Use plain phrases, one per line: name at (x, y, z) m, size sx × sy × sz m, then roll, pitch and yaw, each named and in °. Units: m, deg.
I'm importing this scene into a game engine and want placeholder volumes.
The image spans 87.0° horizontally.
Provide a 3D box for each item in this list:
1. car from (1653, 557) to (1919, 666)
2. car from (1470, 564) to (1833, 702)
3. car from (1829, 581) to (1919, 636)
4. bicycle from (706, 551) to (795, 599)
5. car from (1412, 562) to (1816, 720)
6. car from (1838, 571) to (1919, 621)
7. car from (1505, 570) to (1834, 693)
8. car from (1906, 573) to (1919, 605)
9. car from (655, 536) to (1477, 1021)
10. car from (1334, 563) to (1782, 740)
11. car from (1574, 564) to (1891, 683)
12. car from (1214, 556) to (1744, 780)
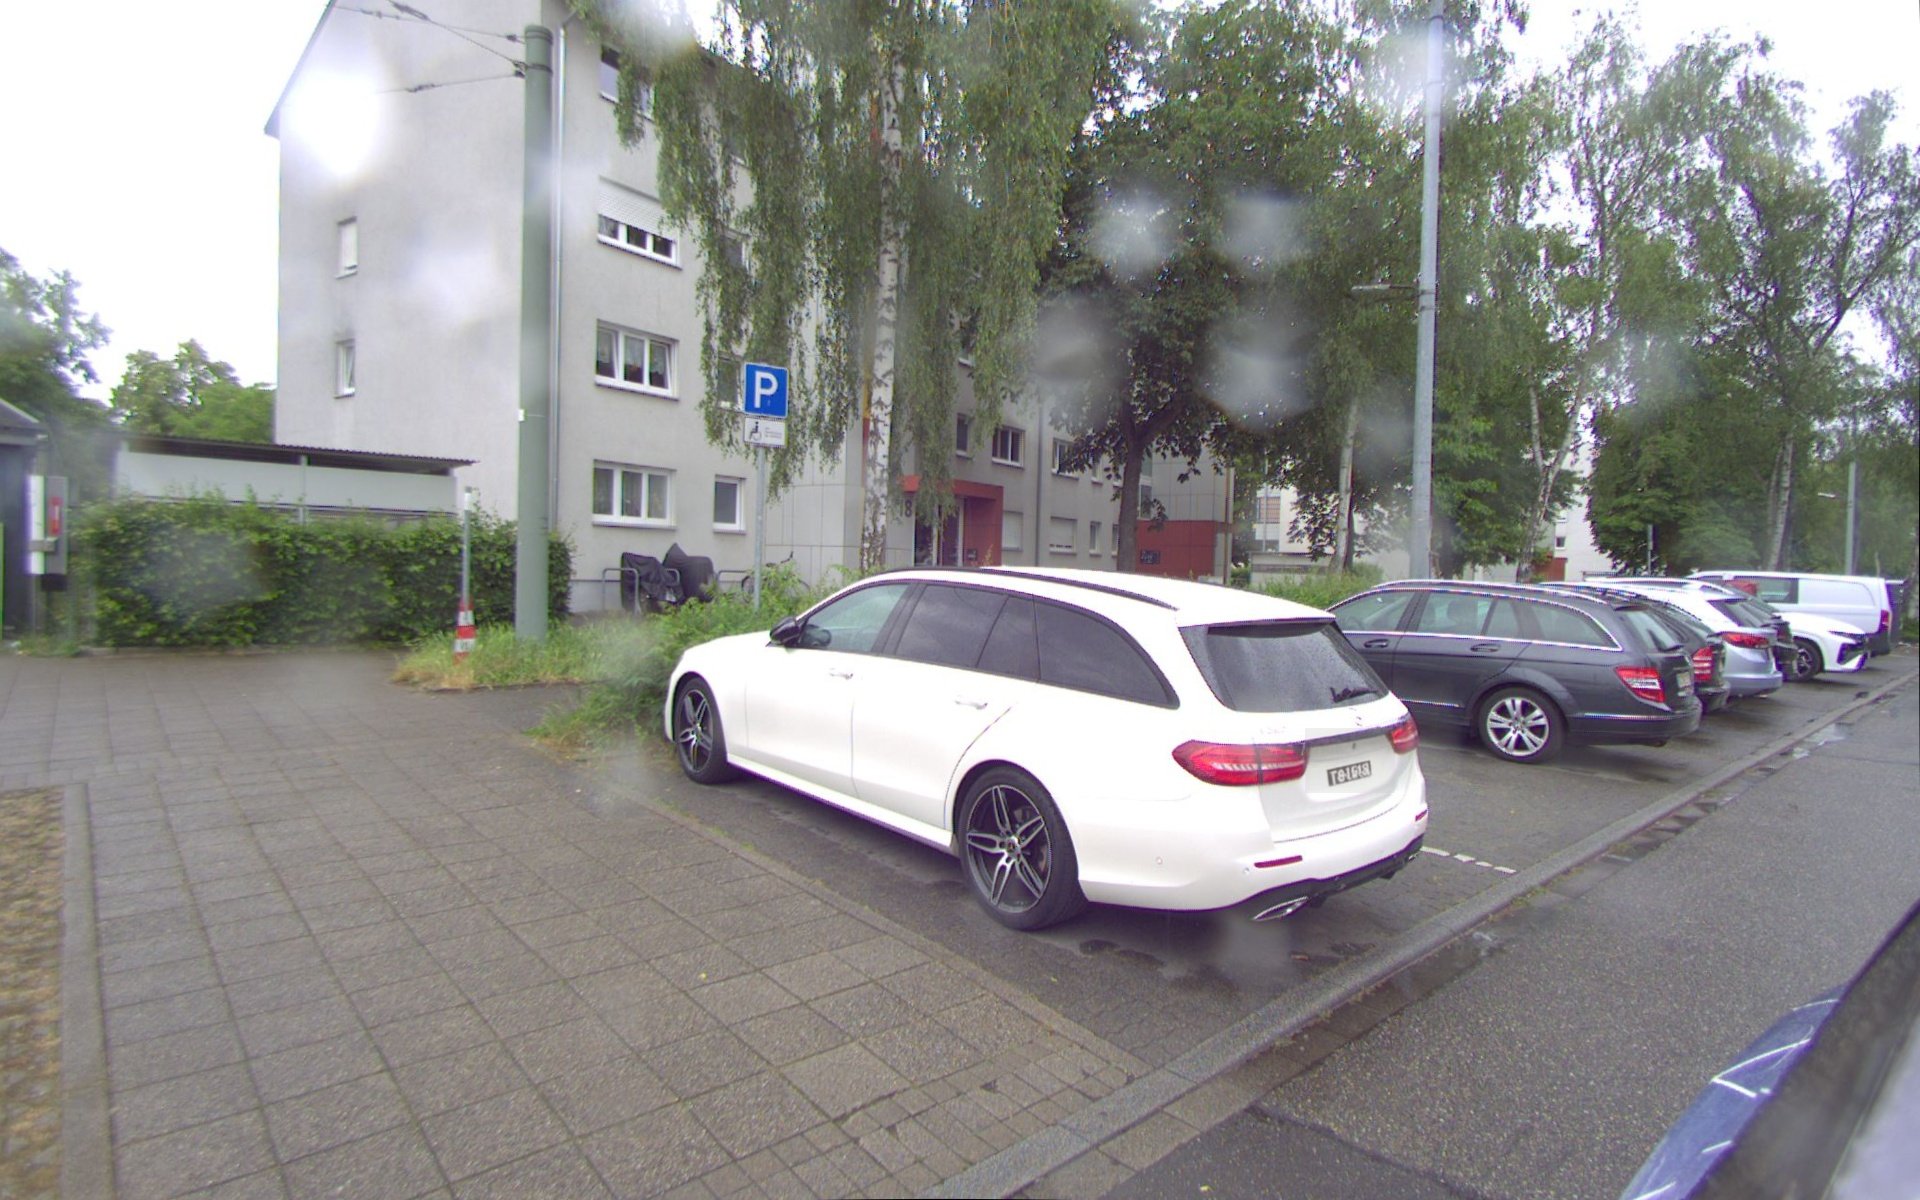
car at (17.551, 0.138, 21.662) m, size 4.172 × 1.888 × 1.654 m, roll 7°, pitch 5°, yaw 43°
car at (9.870, 0.349, 14.690) m, size 1.653 × 1.514 × 4.044 m, roll -1°, pitch 5°, yaw -43°
car at (34.443, 0.277, 36.816) m, size 1.866 × 1.937 × 3.998 m, roll -1°, pitch 0°, yaw -36°
bicycle at (-4.522, -0.530, 21.971) m, size 0.701 × 1.005 × 1.918 m, roll 0°, pitch 0°, yaw 37°
car at (8.242, 0.377, 13.047) m, size 1.653 × 1.514 × 4.044 m, roll -1°, pitch 5°, yaw -43°
car at (37.779, -0.174, 40.255) m, size 1.866 × 1.937 × 3.998 m, roll -1°, pitch 0°, yaw -36°
car at (11.327, 0.386, 16.367) m, size 1.653 × 1.514 × 4.044 m, roll -1°, pitch 5°, yaw -43°
car at (53.223, -0.589, 53.810) m, size 1.866 × 1.701 × 3.998 m, roll -1°, pitch 1°, yaw -36°
car at (0.082, 0.473, 5.608) m, size 1.651 × 1.456 × 4.622 m, roll -1°, pitch 5°, yaw -41°
car at (6.615, 0.417, 11.543) m, size 1.653 × 1.456 × 4.044 m, roll -1°, pitch 5°, yaw -43°
car at (13.697, 0.315, 18.171) m, size 1.651 × 1.637 × 4.181 m, roll 0°, pitch 5°, yaw -40°
car at (4.611, 0.426, 9.470) m, size 1.653 × 1.456 × 4.044 m, roll -1°, pitch 5°, yaw -43°
